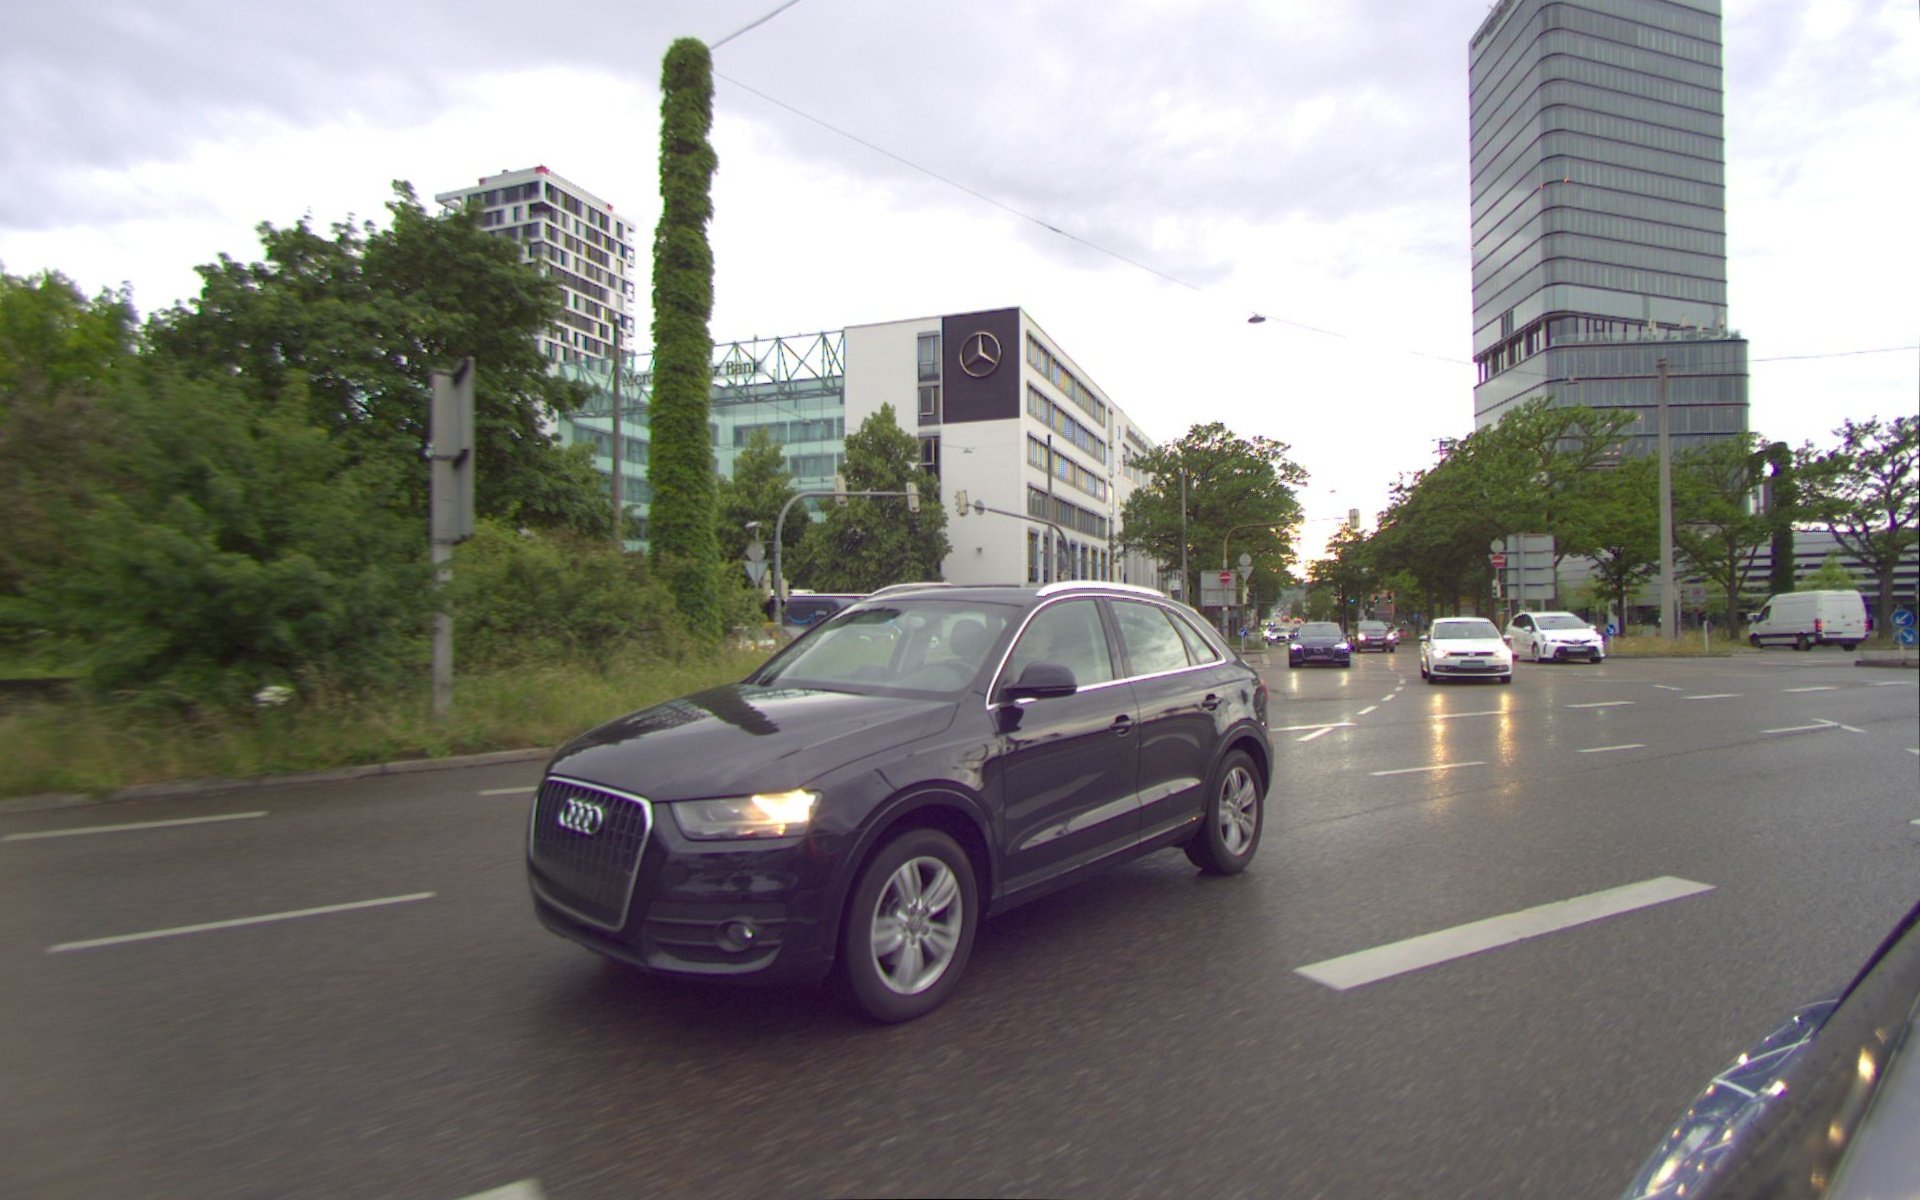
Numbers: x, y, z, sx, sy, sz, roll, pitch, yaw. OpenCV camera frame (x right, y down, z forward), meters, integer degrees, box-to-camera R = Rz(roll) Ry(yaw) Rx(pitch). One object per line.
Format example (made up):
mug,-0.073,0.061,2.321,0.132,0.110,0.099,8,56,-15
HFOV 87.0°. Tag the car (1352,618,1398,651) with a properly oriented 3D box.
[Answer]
car,19.365,1.604,47.293,1.549,1.433,3.858,-2,-1,17

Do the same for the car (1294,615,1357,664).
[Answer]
car,11.696,1.212,32.292,1.739,1.416,3.970,-1,-1,22

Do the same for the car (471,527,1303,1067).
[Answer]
car,0.009,0.567,5.017,1.724,1.553,4.063,-1,0,42

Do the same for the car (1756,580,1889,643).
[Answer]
car,38.800,0.538,45.754,1.900,2.618,5.443,-1,-1,9

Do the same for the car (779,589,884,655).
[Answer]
car,-5.609,0.954,43.724,4.788,2.700,1.899,-2,-2,44

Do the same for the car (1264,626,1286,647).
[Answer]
car,25.082,2.884,80.590,1.591,1.533,3.610,-1,-1,19

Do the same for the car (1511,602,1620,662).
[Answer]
car,18.838,0.960,31.706,1.803,1.603,4.276,-3,0,16

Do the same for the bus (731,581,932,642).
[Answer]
bus,-7.373,0.724,57.069,11.699,3.242,1.986,-1,-1,21

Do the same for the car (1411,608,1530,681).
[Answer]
car,11.551,0.961,23.165,1.708,1.491,4.239,-2,-1,17

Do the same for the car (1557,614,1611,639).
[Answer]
car,38.848,1.622,63.058,1.657,1.504,3.775,-1,-1,13

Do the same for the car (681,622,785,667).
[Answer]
car,-8.631,1.658,38.291,4.152,1.586,1.817,-2,-2,44

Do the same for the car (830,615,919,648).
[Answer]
car,-3.960,1.435,46.501,4.099,1.433,1.706,-2,-2,40
